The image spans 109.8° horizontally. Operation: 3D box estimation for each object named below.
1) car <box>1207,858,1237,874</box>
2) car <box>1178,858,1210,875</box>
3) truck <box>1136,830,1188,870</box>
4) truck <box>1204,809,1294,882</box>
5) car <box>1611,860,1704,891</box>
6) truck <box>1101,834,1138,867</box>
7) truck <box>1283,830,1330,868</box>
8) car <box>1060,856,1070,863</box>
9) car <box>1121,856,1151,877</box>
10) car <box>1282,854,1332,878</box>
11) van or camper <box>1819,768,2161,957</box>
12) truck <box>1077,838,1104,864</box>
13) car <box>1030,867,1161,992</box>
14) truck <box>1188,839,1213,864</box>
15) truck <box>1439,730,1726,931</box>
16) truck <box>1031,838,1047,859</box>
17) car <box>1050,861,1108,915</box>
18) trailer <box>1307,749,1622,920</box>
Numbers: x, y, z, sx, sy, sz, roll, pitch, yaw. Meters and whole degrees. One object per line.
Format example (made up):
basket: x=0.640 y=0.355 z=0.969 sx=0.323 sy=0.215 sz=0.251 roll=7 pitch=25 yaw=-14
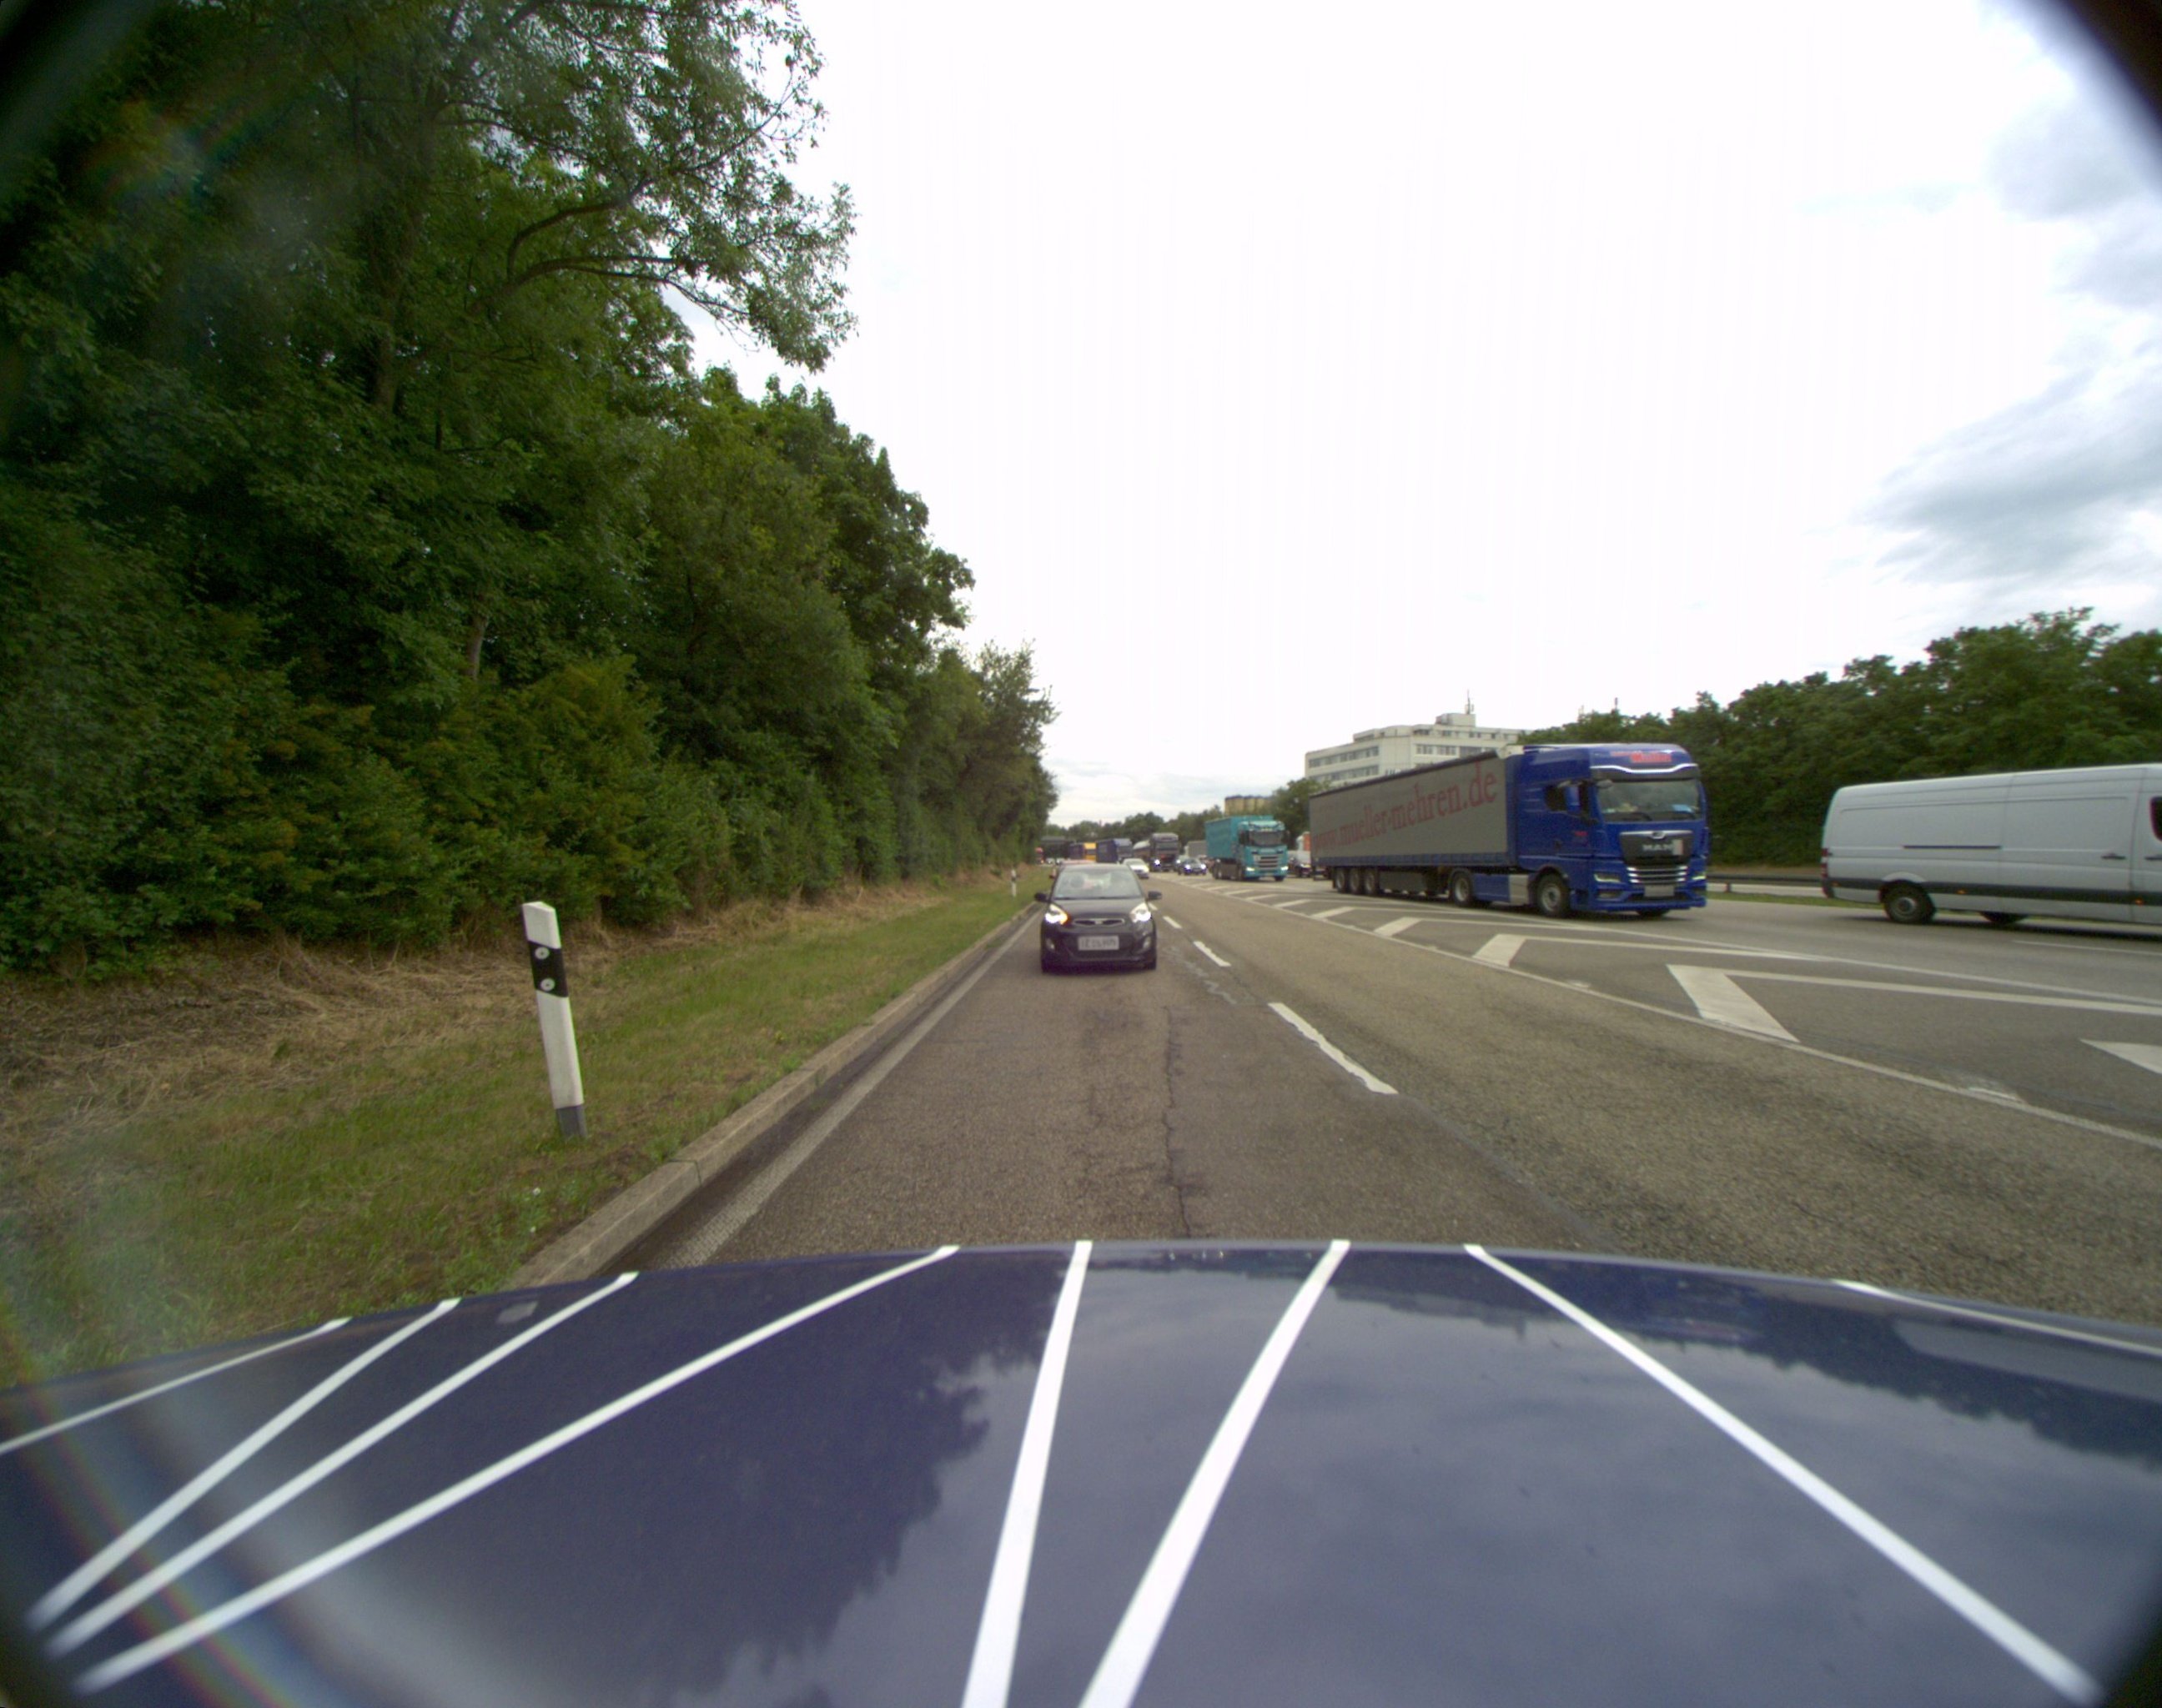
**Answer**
car: x=13.245 y=1.130 z=71.750 sx=1.898 sy=1.425 sz=4.054 roll=-1 pitch=0 yaw=-3
car: x=9.194 y=0.966 z=62.046 sx=1.757 sy=1.314 sz=3.998 roll=-1 pitch=0 yaw=-4
truck: x=8.363 y=-0.401 z=80.855 sx=3.329 sy=3.902 sz=13.141 roll=-1 pitch=0 yaw=-3
truck: x=10.154 y=-0.466 z=47.235 sx=2.701 sy=3.977 sz=10.121 roll=-1 pitch=0 yaw=-4
car: x=27.623 y=0.990 z=36.540 sx=1.666 sy=1.383 sz=3.549 roll=-1 pitch=0 yaw=-3
truck: x=5.240 y=-0.445 z=106.101 sx=2.815 sy=4.206 sz=13.998 roll=-1 pitch=0 yaw=-6
truck: x=24.008 y=-0.531 z=81.168 sx=2.354 sy=3.861 sz=8.112 roll=-1 pitch=0 yaw=-2
car: x=-3.407 y=1.128 z=159.691 sx=1.636 sy=1.328 sz=3.192 roll=-1 pitch=0 yaw=-10
car: x=4.038 y=0.884 z=56.462 sx=1.863 sy=1.455 sz=4.884 roll=-1 pitch=0 yaw=0
car: x=14.465 y=0.740 z=48.830 sx=1.898 sy=1.425 sz=3.999 roll=-1 pitch=0 yaw=-3
van or camper: x=15.884 y=0.114 z=11.757 sx=2.054 sy=2.606 sz=6.955 roll=-1 pitch=0 yaw=-2
truck: x=1.516 y=-0.476 z=133.984 sx=2.848 sy=4.206 sz=14.113 roll=-1 pitch=0 yaw=-7
car: x=0.221 y=0.971 z=11.425 sx=1.584 sy=1.485 sz=4.000 roll=-1 pitch=0 yaw=1
truck: x=18.727 y=-0.373 z=119.627 sx=2.000 sy=3.739 sz=7.543 roll=-1 pitch=0 yaw=-6
truck: x=11.321 y=-0.468 z=17.978 sx=2.676 sy=3.938 sz=5.926 roll=-1 pitch=0 yaw=-2
truck: x=-10.751 y=-1.293 z=191.262 sx=2.848 sy=5.070 sz=14.111 roll=-1 pitch=0 yaw=-8
car: x=-0.053 y=0.978 z=23.420 sx=1.630 sy=1.492 sz=3.564 roll=-1 pitch=0 yaw=0
trailer: x=11.046 y=-0.461 z=24.720 sx=2.680 sy=3.951 sz=13.916 roll=-1 pitch=0 yaw=-2
